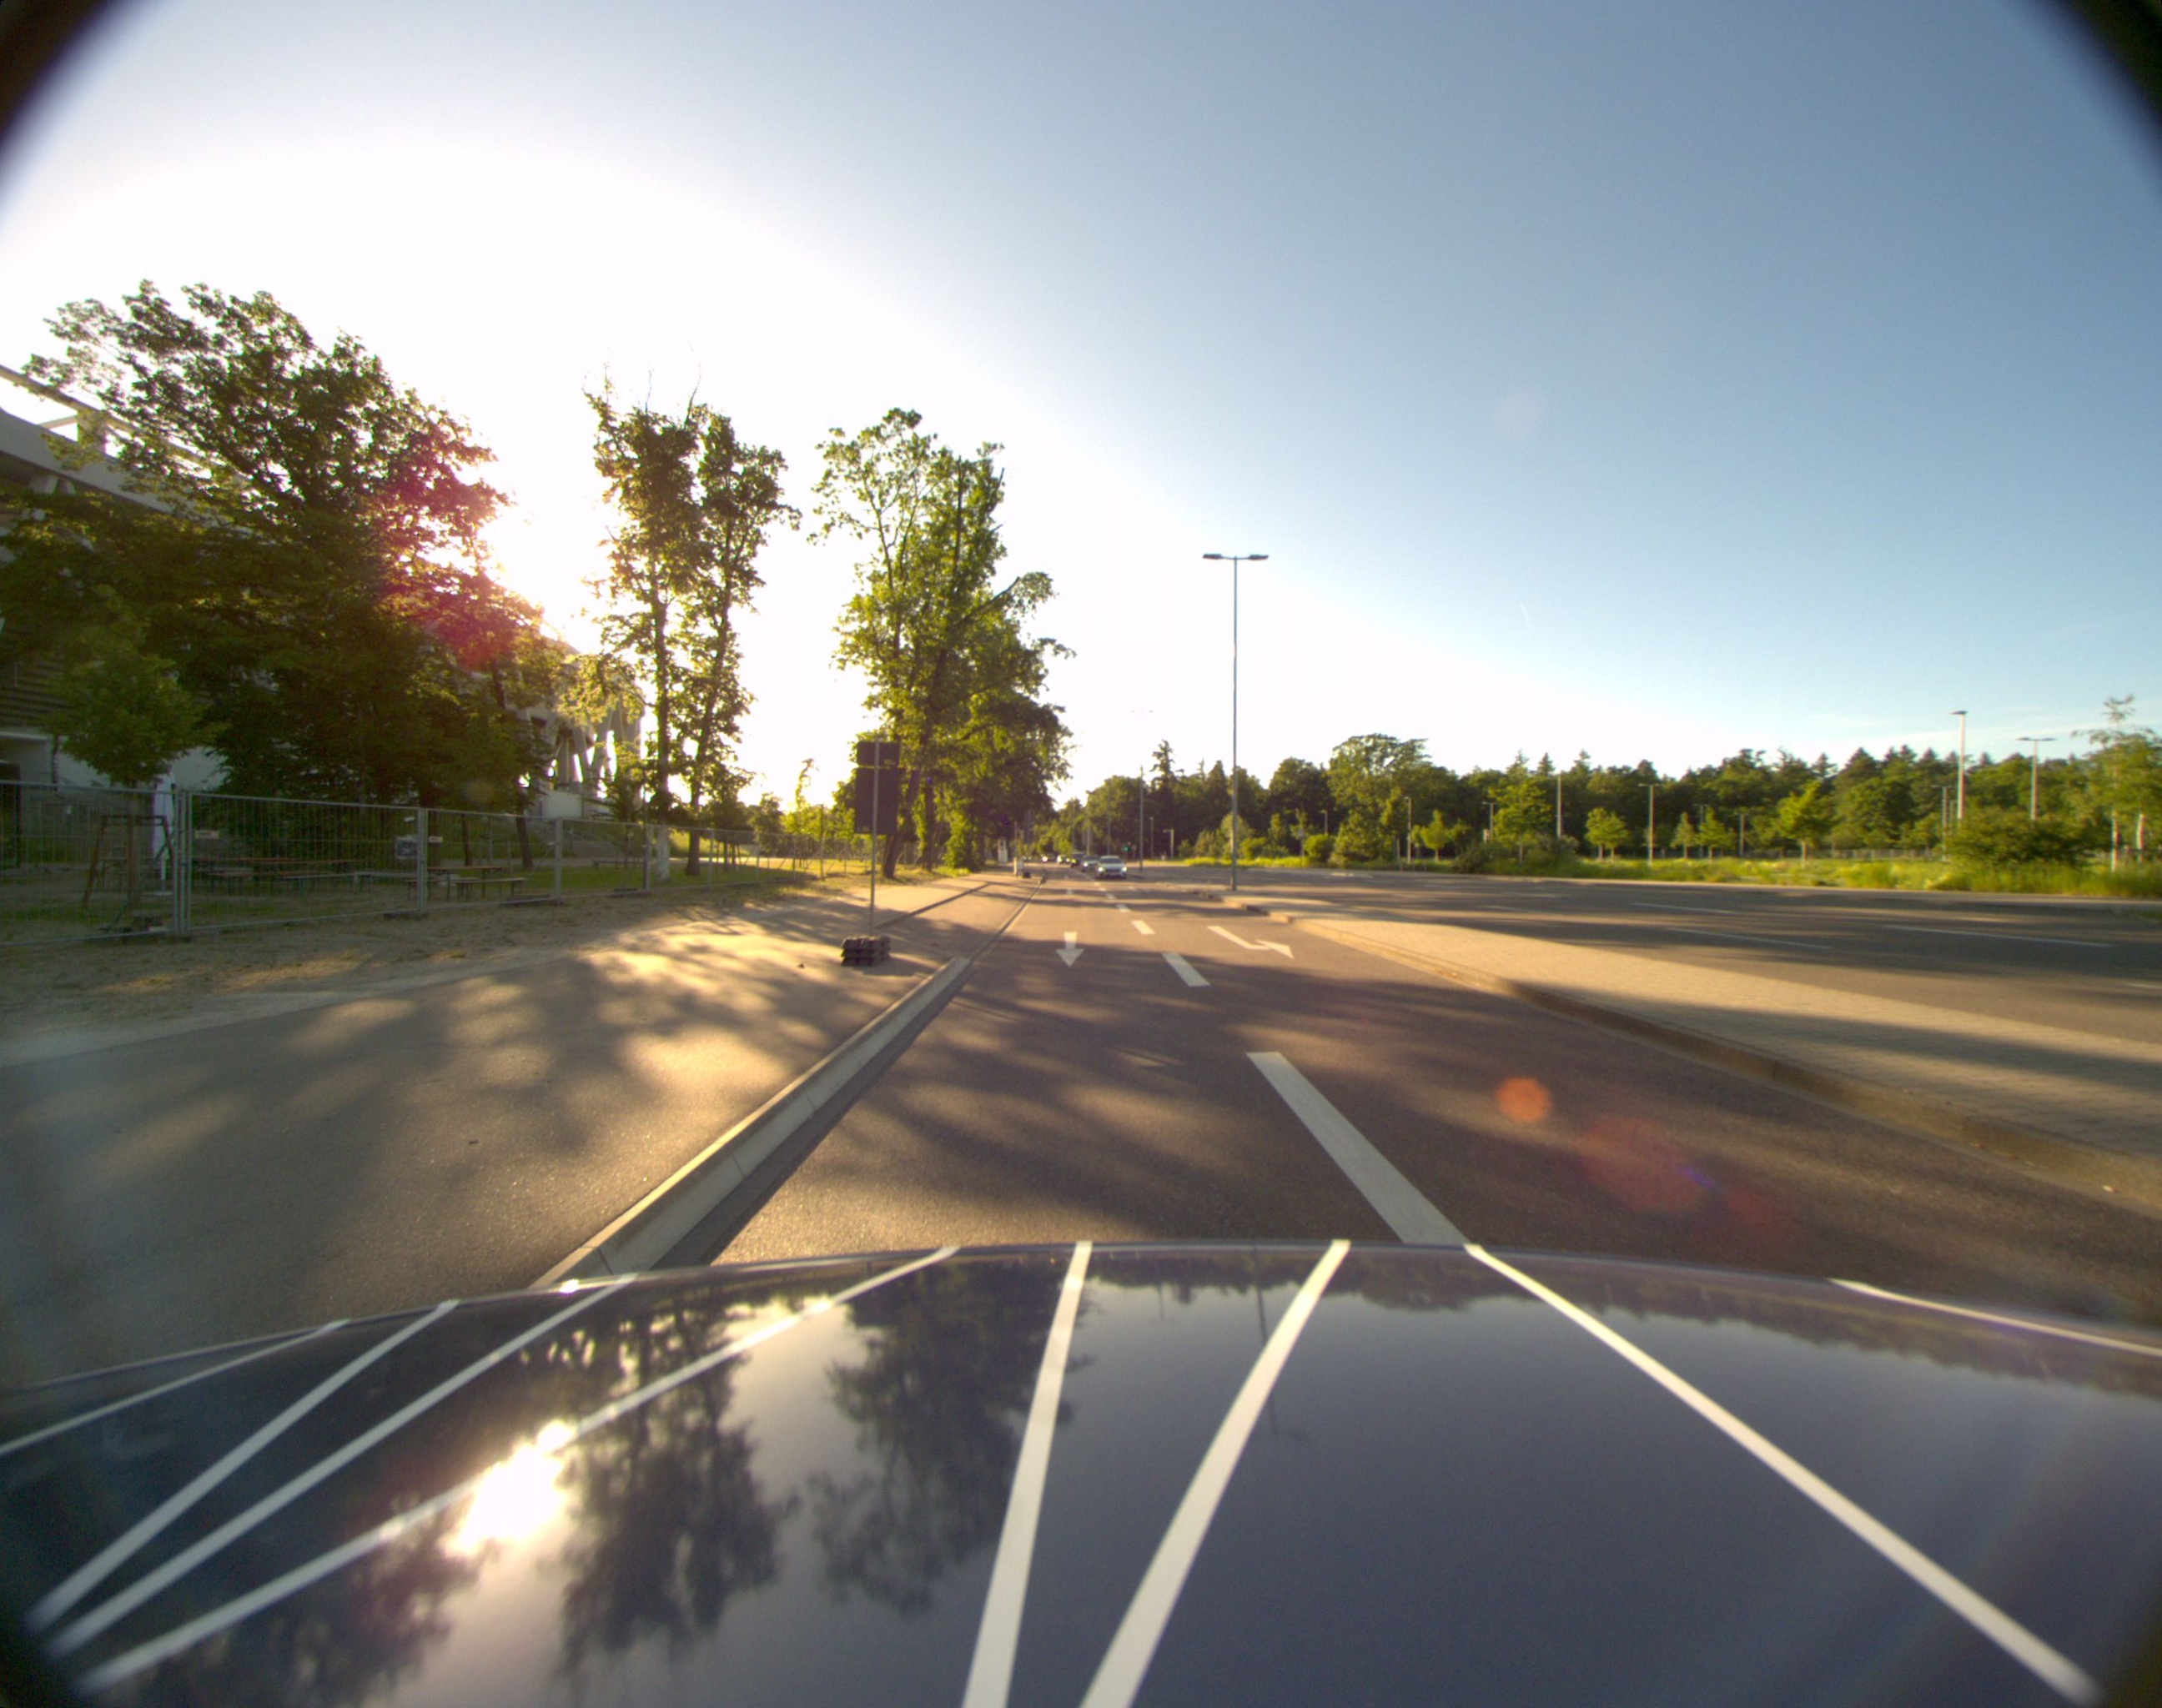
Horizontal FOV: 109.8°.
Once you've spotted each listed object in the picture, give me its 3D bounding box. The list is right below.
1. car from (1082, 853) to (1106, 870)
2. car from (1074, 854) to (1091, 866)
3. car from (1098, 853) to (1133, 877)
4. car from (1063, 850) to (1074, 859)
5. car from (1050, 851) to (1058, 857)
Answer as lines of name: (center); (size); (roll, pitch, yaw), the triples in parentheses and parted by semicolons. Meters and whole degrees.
car: (1.176, 0.665, 69.775); (1.841, 1.395, 4.990); (-1, 0, -3)
car: (0.177, 0.768, 94.962); (1.841, 1.395, 4.990); (-1, 0, -3)
car: (2.127, 0.673, 48.207); (1.841, 1.395, 3.999); (-1, 0, -2)
car: (-2.129, 0.060, 127.419); (1.841, 1.395, 4.990); (-1, 0, -2)
car: (-6.554, -0.062, 185.833); (1.842, 1.395, 4.989); (-1, 0, -4)
